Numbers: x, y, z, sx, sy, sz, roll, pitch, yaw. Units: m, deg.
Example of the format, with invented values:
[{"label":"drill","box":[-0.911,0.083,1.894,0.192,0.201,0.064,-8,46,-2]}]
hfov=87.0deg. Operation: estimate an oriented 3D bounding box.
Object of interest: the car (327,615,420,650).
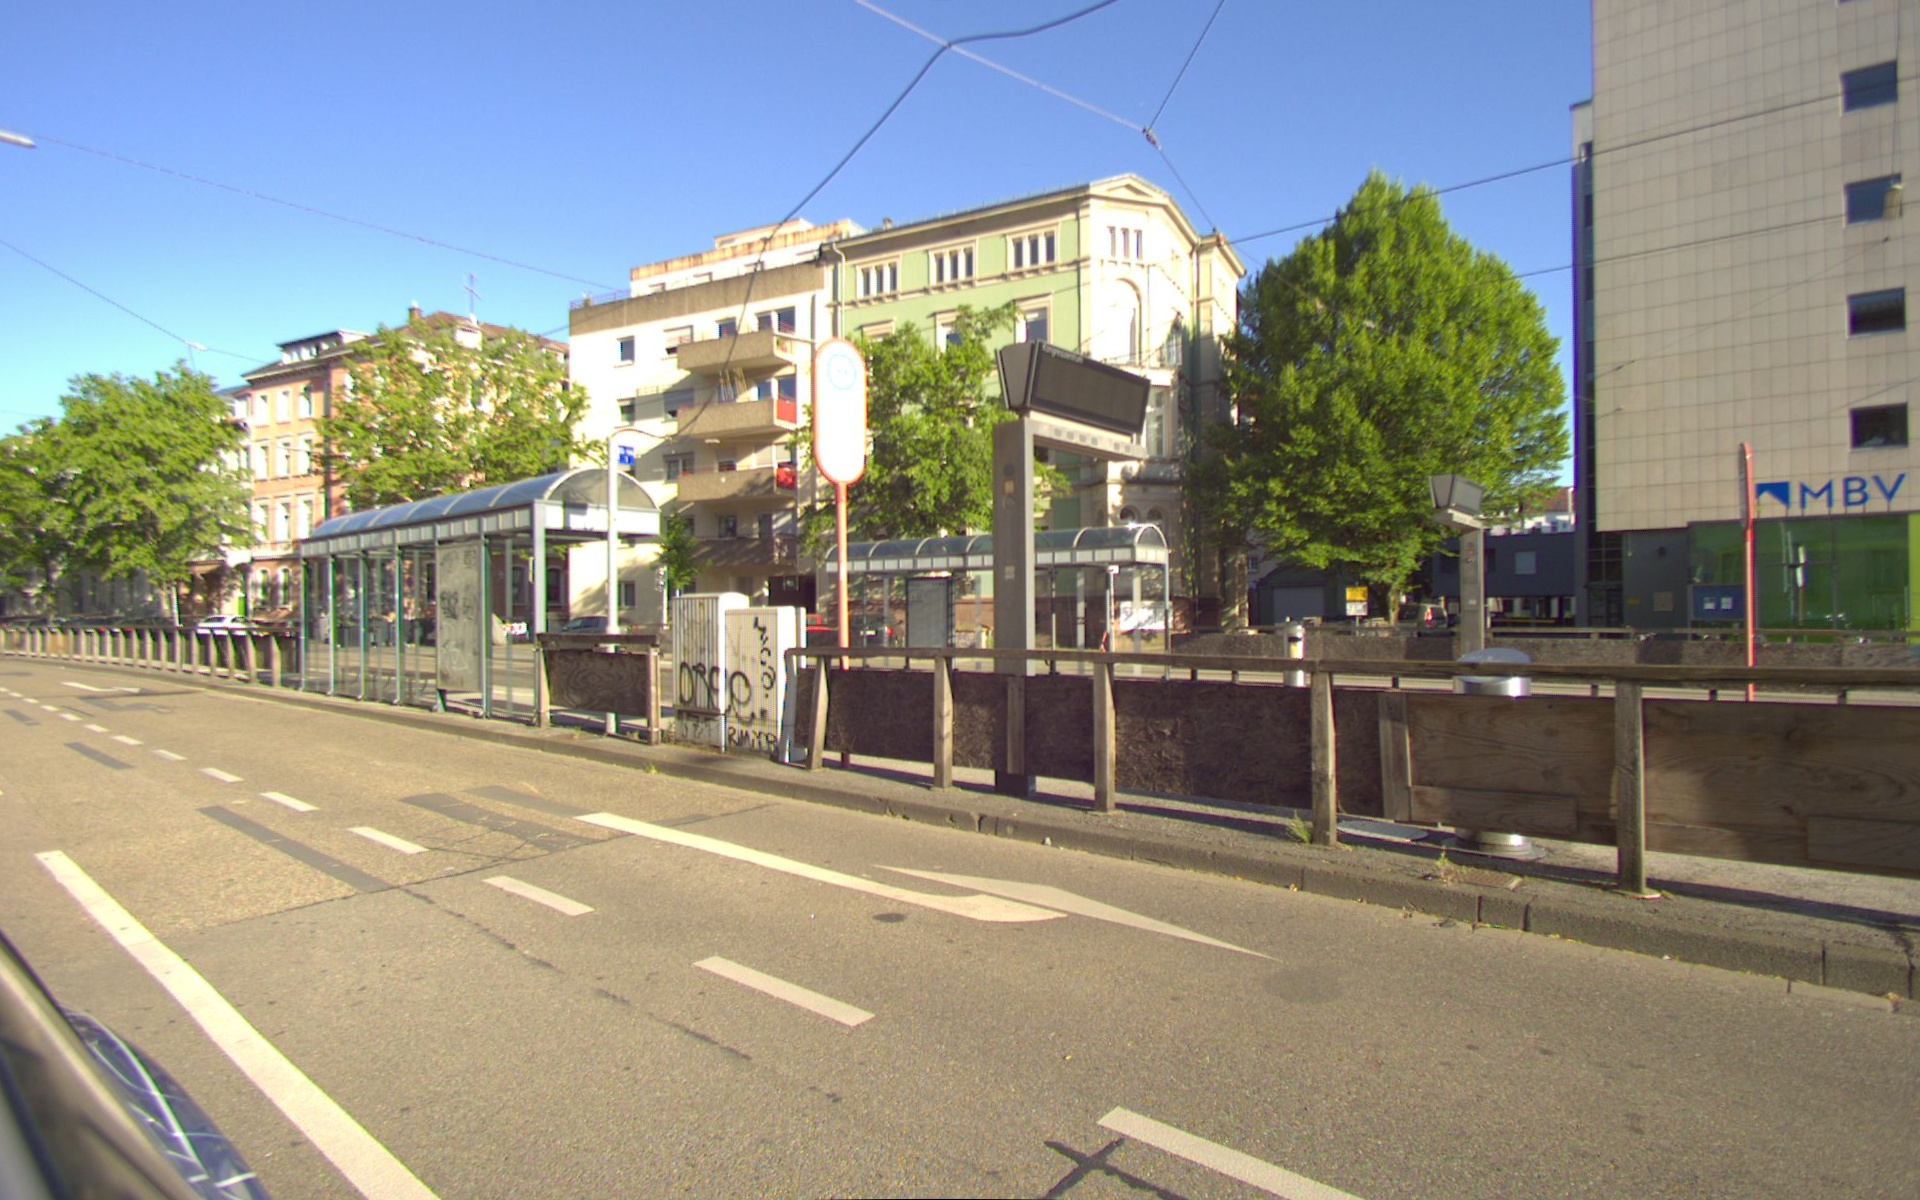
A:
[{"label":"car","box":[-28.396,1.556,49.045,1.626,1.579,3.560,-1,0,33]}]

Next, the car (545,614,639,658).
[{"label":"car","box":[-14.030,1.331,38.510,3.592,1.579,1.612,-1,0,35]}]

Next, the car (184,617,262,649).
[{"label":"car","box":[-39.396,1.735,54.202,1.607,1.579,3.601,-1,0,-2]}]

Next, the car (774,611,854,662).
[{"label":"car","box":[-4.917,1.213,34.558,1.614,1.579,3.588,-1,0,11]}]

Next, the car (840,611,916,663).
[{"label":"car","box":[-2.644,1.184,33.362,1.614,1.579,3.588,-1,0,11]}]
